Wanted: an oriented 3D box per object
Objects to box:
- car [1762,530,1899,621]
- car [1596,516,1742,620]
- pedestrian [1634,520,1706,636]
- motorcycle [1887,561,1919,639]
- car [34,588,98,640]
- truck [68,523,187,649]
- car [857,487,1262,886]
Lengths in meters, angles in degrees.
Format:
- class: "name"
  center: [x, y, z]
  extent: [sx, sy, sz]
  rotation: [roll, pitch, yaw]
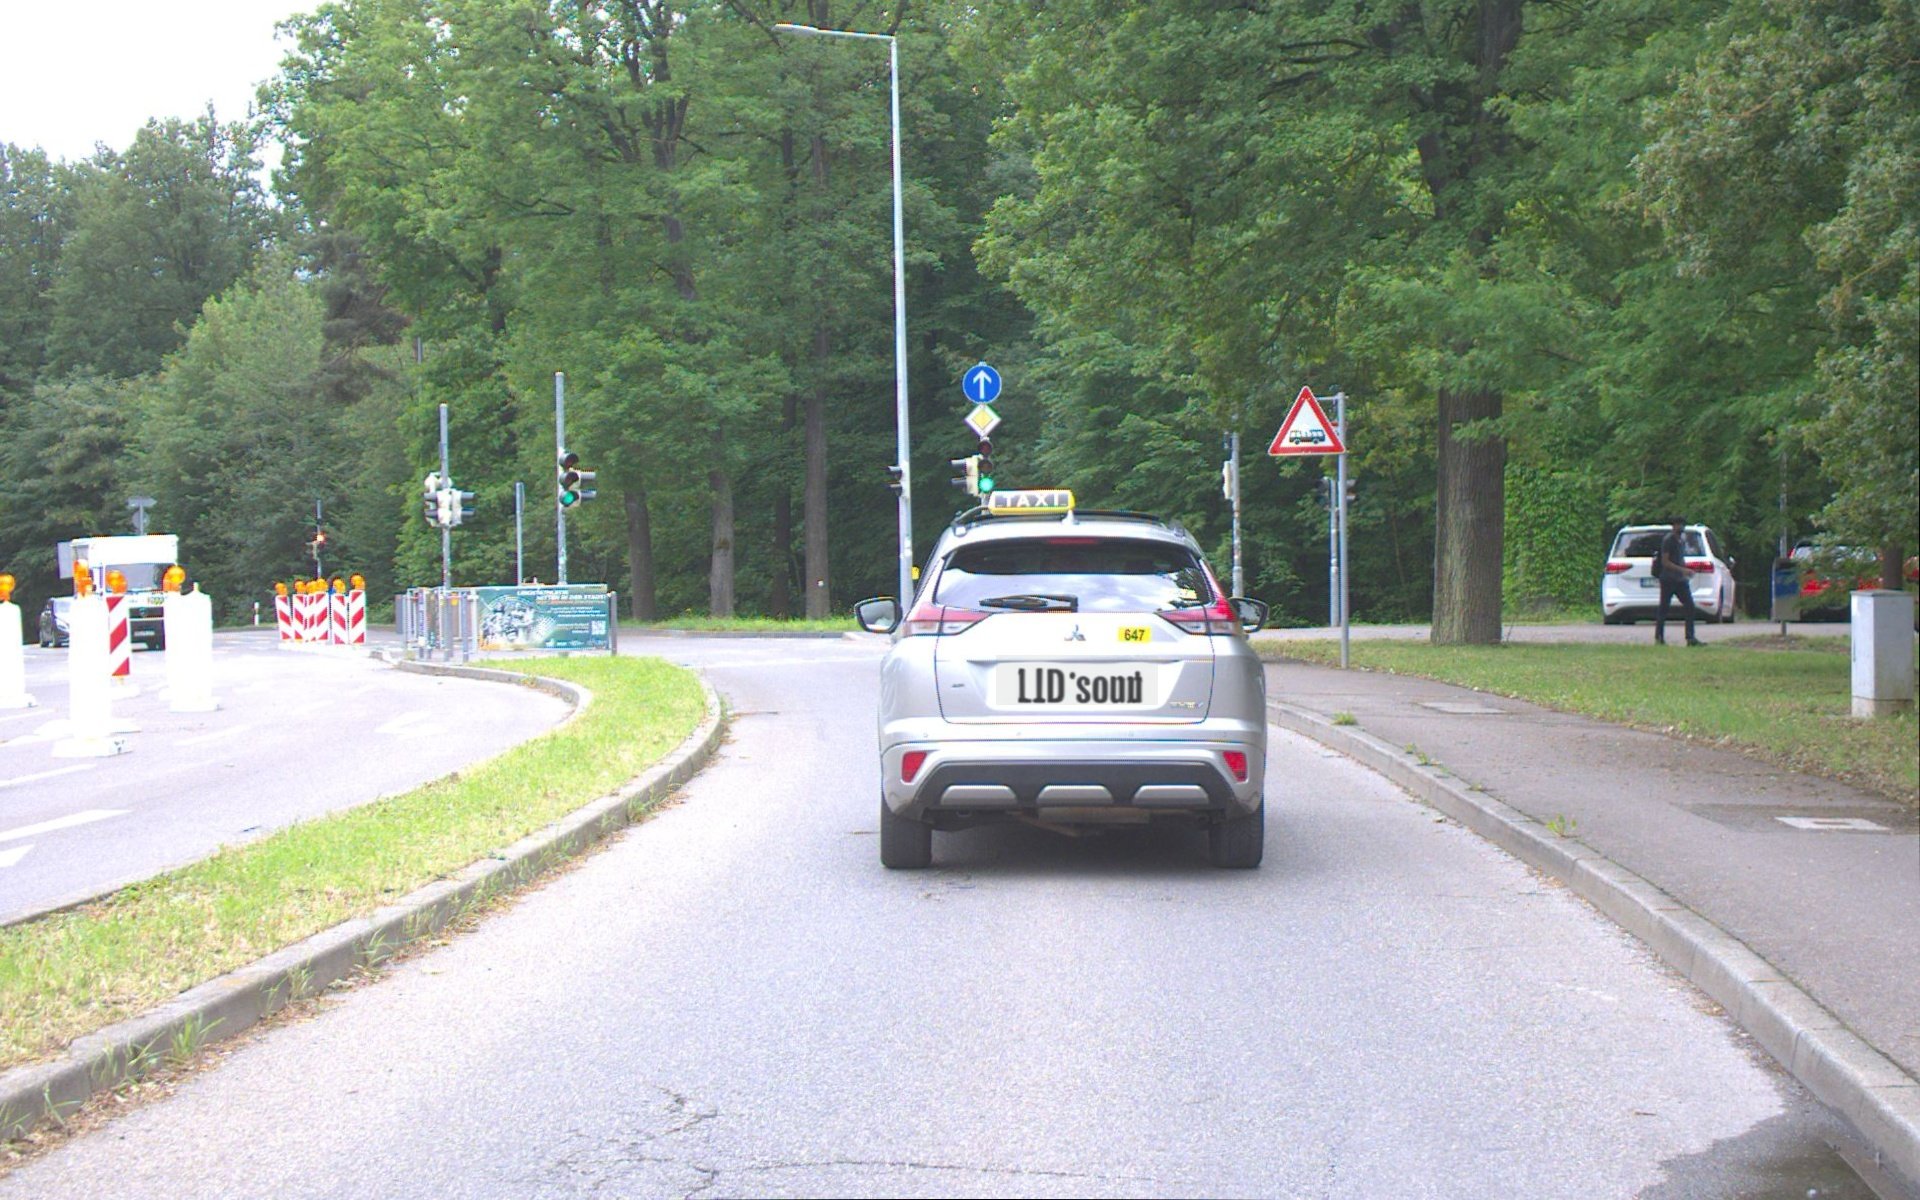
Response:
- class: "car"
  center: [13.405, -0.396, 52.820]
  extent: [1.836, 1.321, 3.997]
  rotation: [-1, 1, 17]
- class: "car"
  center: [11.066, -0.516, 53.482]
  extent: [1.836, 1.531, 3.997]
  rotation: [-1, 1, 17]
- class: "pedestrian"
  center: [9.314, -0.290, 45.065]
  extent: [0.841, 1.501, 0.790]
  rotation: [-1, 1, 16]
- class: "motorcycle"
  center: [13.717, -0.011, 47.302]
  extent: [1.828, 1.053, 0.615]
  rotation: [0, 1, 12]
- class: "car"
  center: [-27.707, 0.419, 106.537]
  extent: [1.555, 1.523, 3.827]
  rotation: [-1, 1, -20]
- class: "truck"
  center: [-23.150, -0.392, 95.337]
  extent: [2.483, 3.275, 8.522]
  rotation: [-2, 1, -18]
- class: "car"
  center: [0.591, 0.385, 16.972]
  extent: [1.774, 1.742, 3.780]
  rotation: [0, 0, 5]
